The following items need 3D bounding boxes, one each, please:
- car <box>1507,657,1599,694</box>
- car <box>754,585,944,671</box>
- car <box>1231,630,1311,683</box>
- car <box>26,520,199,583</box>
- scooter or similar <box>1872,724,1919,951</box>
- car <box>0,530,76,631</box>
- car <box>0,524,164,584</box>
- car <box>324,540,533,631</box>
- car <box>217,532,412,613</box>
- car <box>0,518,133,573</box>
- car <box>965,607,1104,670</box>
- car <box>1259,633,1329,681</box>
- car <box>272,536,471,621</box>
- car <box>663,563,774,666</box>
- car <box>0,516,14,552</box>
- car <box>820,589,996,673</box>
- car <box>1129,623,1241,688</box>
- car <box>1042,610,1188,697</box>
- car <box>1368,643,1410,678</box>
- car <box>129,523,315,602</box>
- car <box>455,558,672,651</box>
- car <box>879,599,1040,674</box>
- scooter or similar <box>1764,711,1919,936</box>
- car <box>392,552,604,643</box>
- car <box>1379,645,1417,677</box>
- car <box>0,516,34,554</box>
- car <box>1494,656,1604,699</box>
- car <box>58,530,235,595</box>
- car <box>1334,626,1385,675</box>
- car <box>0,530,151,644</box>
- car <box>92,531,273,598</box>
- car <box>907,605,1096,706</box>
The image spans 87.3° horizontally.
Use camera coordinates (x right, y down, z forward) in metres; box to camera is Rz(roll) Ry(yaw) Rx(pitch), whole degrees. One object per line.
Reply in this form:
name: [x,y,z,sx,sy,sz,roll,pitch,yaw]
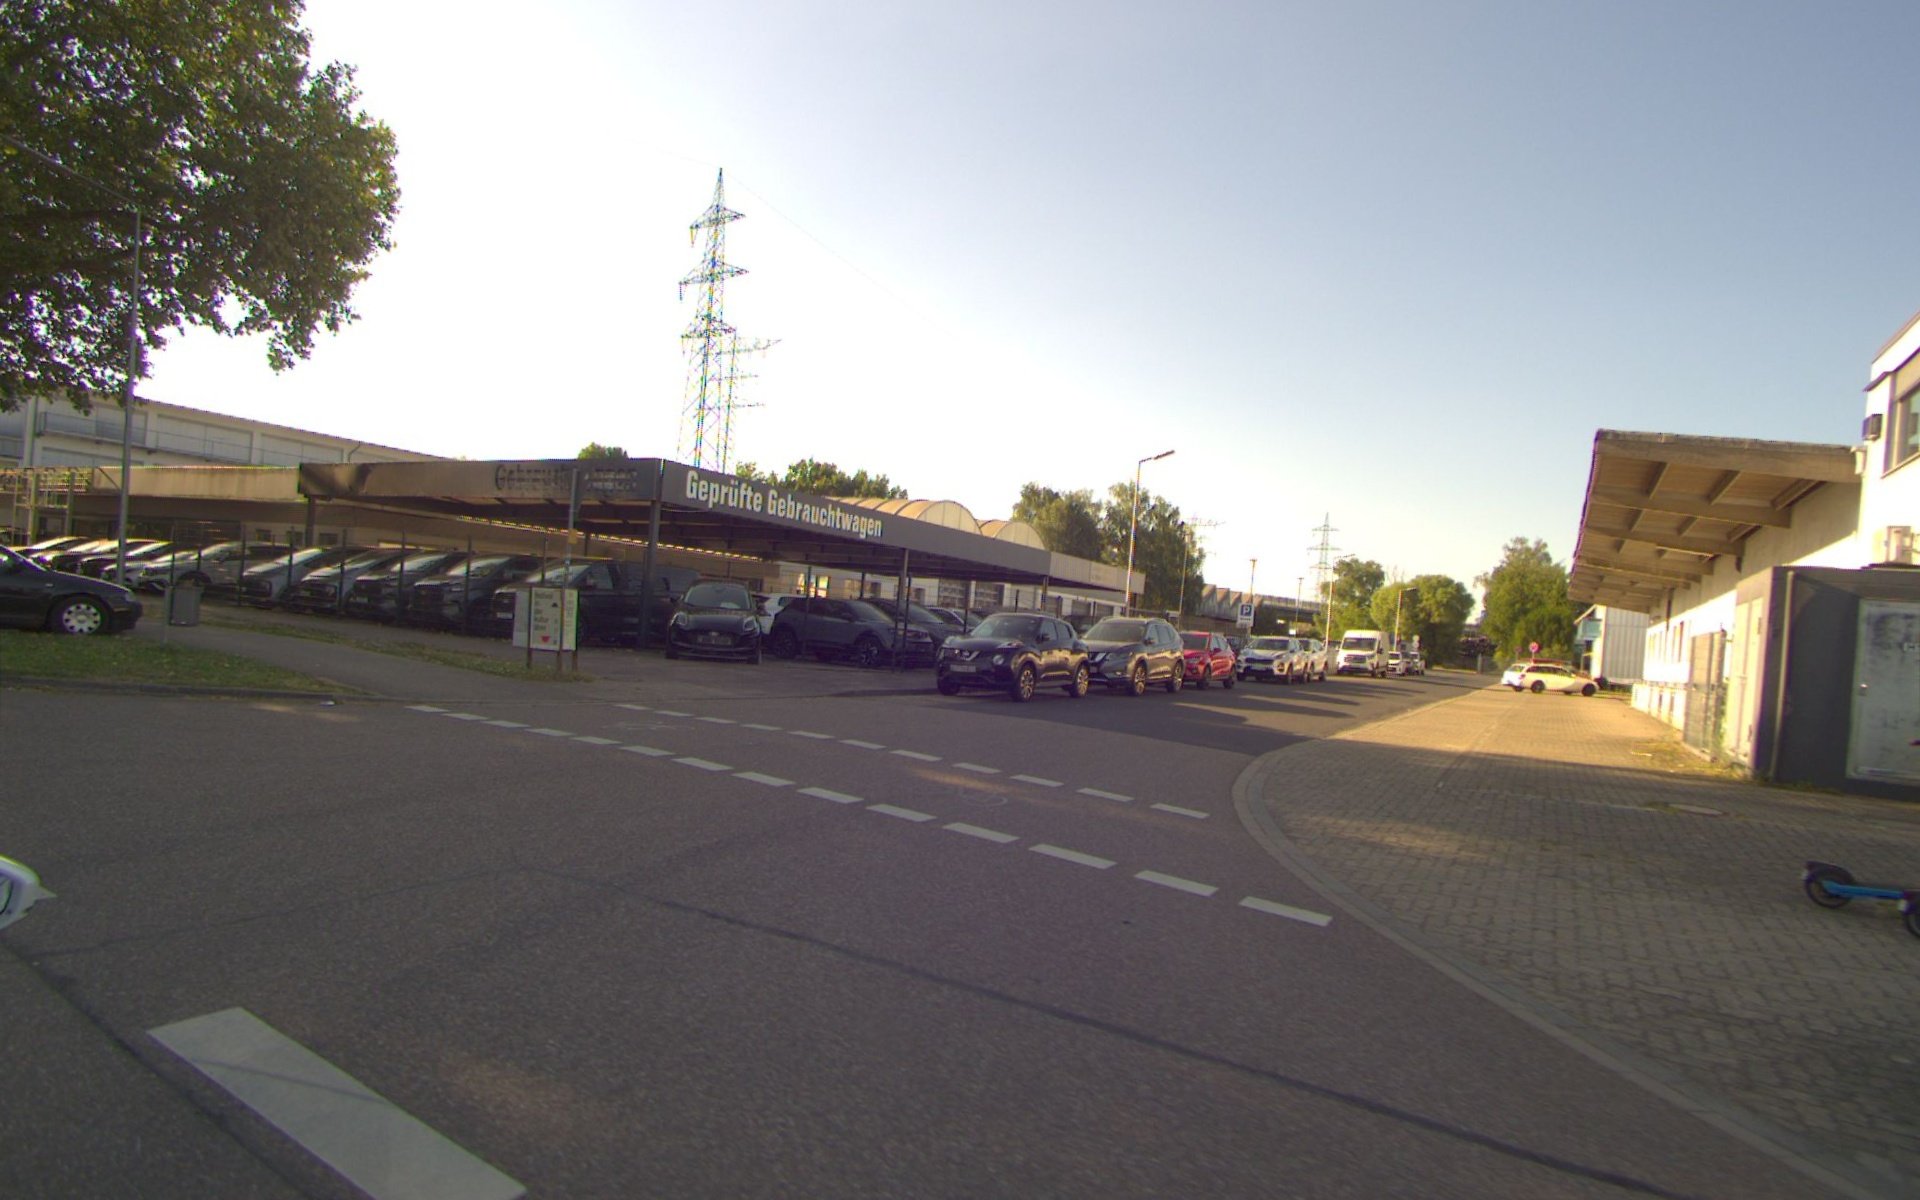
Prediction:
car: [36.340,4.622,61.711,4.413,1.670,2.000,6,-1,-4]
car: [-2.623,0.657,23.681,3.933,1.621,1.996,5,-1,30]
car: [11.272,2.045,36.277,1.966,1.724,3.994,3,-2,28]
car: [-28.831,-1.608,34.357,1.966,1.564,3.994,5,-2,30]
scooter or similar: [6.274,1.469,5.853,1.273,1.314,0.443,5,-1,29]
car: [-15.386,-0.413,14.148,1.967,1.433,3.990,5,0,31]
car: [-31.148,-1.600,35.724,1.966,1.564,3.994,5,-2,30]
car: [-12.901,-0.304,24.665,1.966,1.720,3.994,5,-2,30]
car: [-17.823,-0.728,27.966,1.966,1.720,3.994,5,-2,30]
car: [-33.405,-2.027,37.062,1.966,1.522,3.994,5,-2,30]
car: [2.408,1.236,32.504,3.934,1.754,1.996,3,-1,30]
car: [13.610,2.331,40.817,1.966,1.724,3.994,3,-2,28]
car: [-15.444,-0.515,26.624,1.966,1.720,3.994,5,-2,30]
car: [-4.986,0.314,20.592,1.908,1.791,3.991,4,-2,-15]
car: [-45.556,-3.244,45.160,1.966,1.564,3.994,5,-2,30]
car: [-1.347,0.787,25.734,3.933,1.755,1.996,4,-1,30]
car: [6.317,1.538,27.932,1.966,1.568,3.994,3,-2,28]
car: [3.640,1.225,23.028,1.966,1.724,4.115,3,-2,28]
car: [26.957,3.814,63.189,1.966,2.007,3.994,3,-2,28]
car: [-22.292,-1.094,30.534,1.966,1.854,3.994,5,-2,30]
car: [-8.581,0.150,22.116,1.966,1.587,3.994,5,-2,30]
car: [-0.033,1.011,28.046,3.933,1.755,1.996,4,-1,30]
scooter or similar: [6.126,1.462,6.523,1.273,1.314,0.443,5,-1,29]
car: [-10.655,-0.012,23.477,1.966,1.653,3.994,5,-2,30]
car: [29.879,4.189,68.596,1.966,2.007,3.994,3,-2,28]
car: [-43.520,-3.063,43.958,1.966,1.564,3.994,5,-2,30]
car: [30.285,3.990,51.823,4.413,1.670,2.000,6,-1,-4]
car: [-26.555,-1.194,32.982,1.966,1.564,3.994,5,-2,30]
car: [21.354,2.711,53.666,1.966,2.458,3.994,3,-2,28]
car: [-13.400,-0.260,13.092,1.967,1.433,3.990,5,0,31]
car: [-24.473,-1.075,31.800,1.966,1.564,3.994,5,-2,30]
car: [0.911,1.055,19.105,1.966,1.624,3.994,3,-2,28]
